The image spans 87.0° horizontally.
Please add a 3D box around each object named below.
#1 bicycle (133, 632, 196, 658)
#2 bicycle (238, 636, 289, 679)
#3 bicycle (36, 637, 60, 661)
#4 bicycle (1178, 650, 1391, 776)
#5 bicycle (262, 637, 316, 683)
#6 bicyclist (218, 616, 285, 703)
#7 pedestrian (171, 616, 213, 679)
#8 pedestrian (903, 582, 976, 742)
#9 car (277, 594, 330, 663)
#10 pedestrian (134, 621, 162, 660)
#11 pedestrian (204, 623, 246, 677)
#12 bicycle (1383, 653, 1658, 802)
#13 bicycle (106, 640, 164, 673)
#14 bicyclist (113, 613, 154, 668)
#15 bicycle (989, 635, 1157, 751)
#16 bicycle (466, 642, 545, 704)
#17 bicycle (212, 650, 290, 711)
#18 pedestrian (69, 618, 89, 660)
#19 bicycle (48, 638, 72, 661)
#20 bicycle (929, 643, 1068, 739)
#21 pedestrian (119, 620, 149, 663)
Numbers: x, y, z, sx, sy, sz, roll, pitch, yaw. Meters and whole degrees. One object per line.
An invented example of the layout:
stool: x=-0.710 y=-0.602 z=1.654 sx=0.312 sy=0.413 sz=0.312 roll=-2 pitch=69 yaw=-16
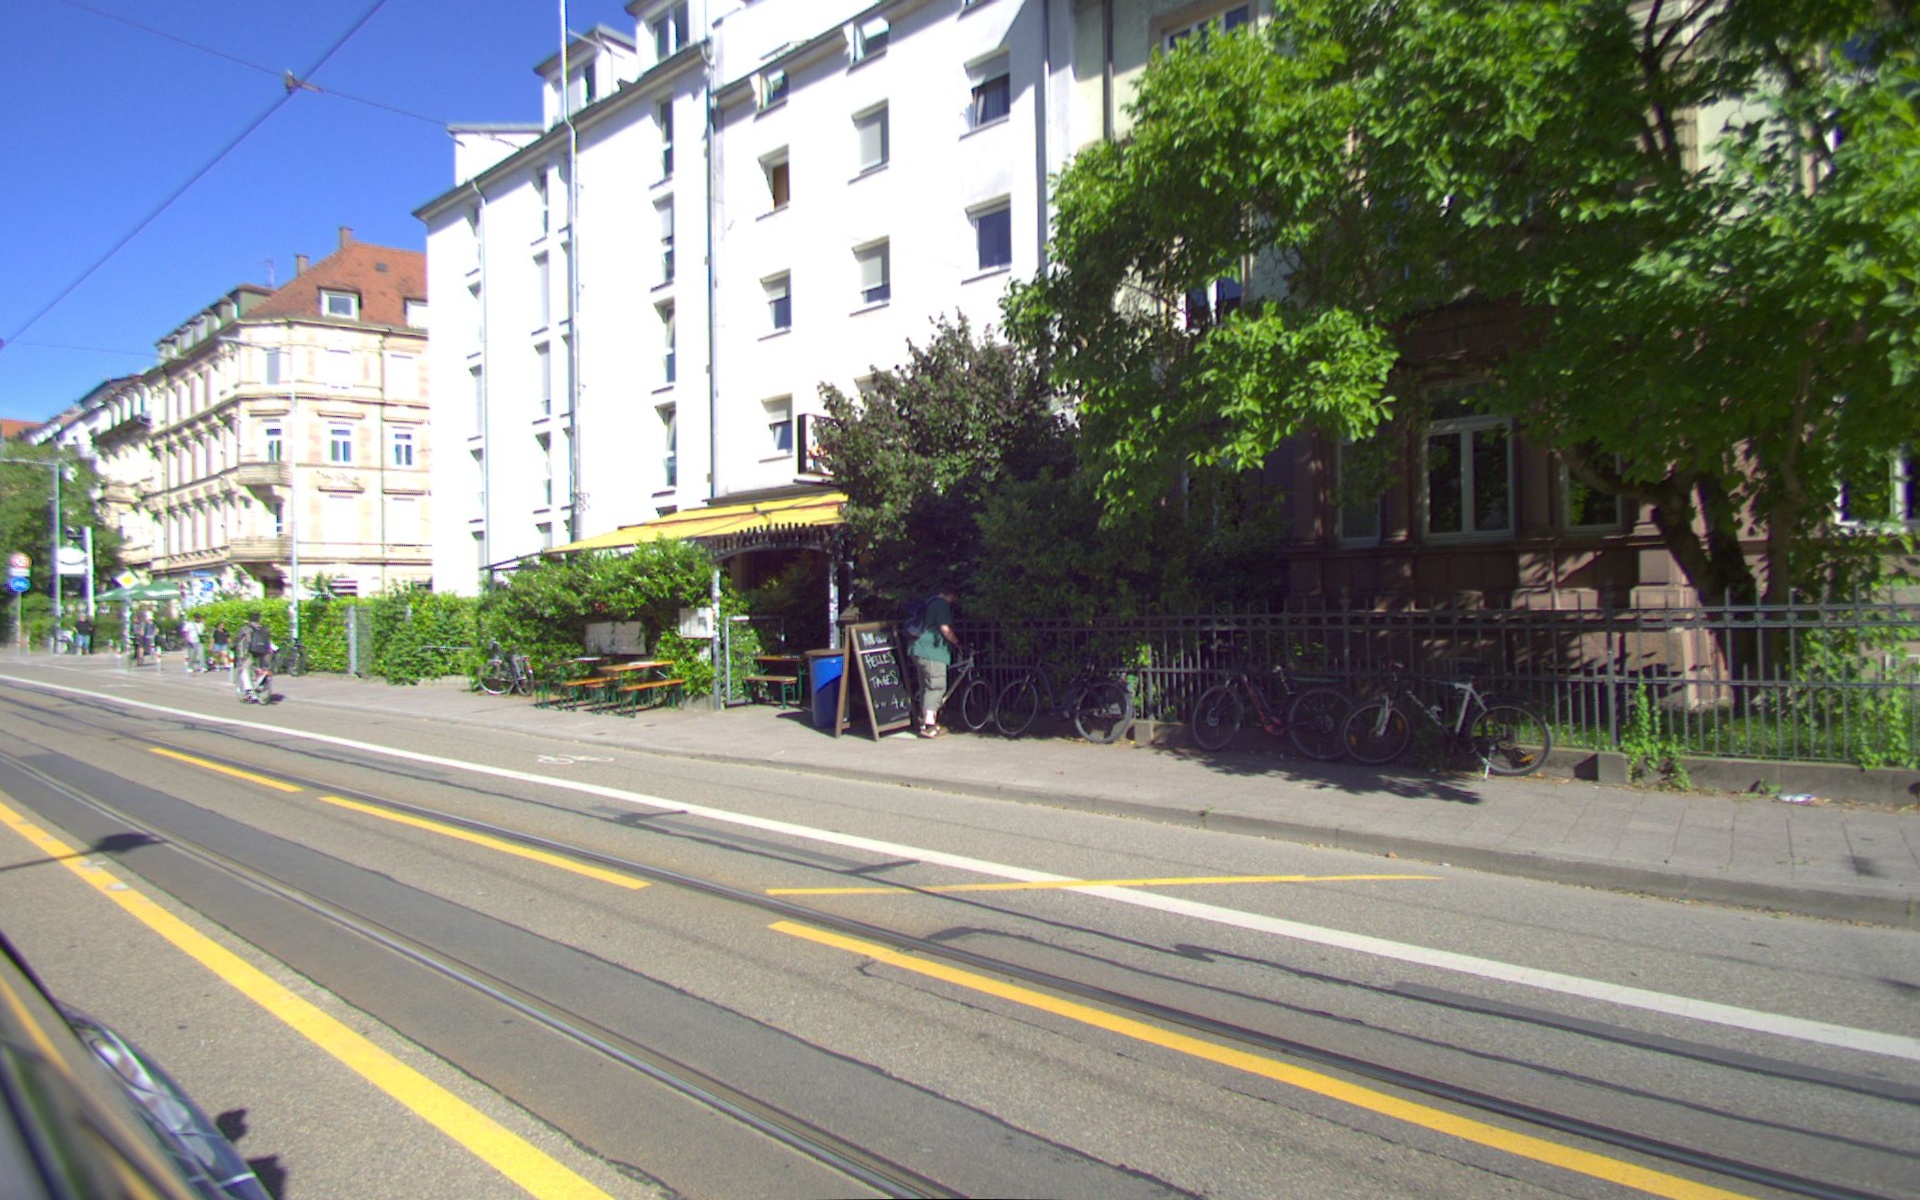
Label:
bicycle: x=-36.082 y=2.034 z=45.908 sx=2.212 sy=1.052 sz=0.877 roll=0 pitch=0 yaw=-41
bicycle: x=-19.402 y=1.586 z=28.170 sx=1.839 sy=1.097 sz=0.655 roll=-1 pitch=2 yaw=40
bicycle: x=-42.355 y=2.257 z=47.008 sx=2.221 sy=1.046 sz=0.508 roll=-2 pitch=-1 yaw=40
bicycle: x=3.107 y=1.042 z=9.856 sx=0.582 sy=1.053 sz=1.907 roll=-2 pitch=0 yaw=-43
bicycle: x=-17.824 y=1.573 z=26.886 sx=1.839 sy=1.097 sz=0.655 roll=-1 pitch=2 yaw=40
bicyclist: x=-13.685 y=1.139 z=19.541 sx=1.117 sy=1.612 sz=0.737 roll=-2 pitch=-4 yaw=40
pedestrian: x=-22.000 y=1.355 z=28.990 sx=0.807 sy=1.727 sz=0.747 roll=-2 pitch=0 yaw=40
pedestrian: x=-0.254 y=0.718 z=12.088 sx=0.567 sy=1.845 sz=0.691 roll=0 pitch=-1 yaw=-32
car: x=-28.883 y=1.174 z=44.486 sx=1.861 sy=2.862 sz=4.796 roll=0 pitch=0 yaw=-34
pedestrian: x=-35.065 y=1.746 z=43.727 sx=0.694 sy=1.667 sz=0.835 roll=0 pitch=0 yaw=-19
pedestrian: x=-21.402 y=1.444 z=29.465 sx=0.956 sy=1.489 sz=0.747 roll=-2 pitch=0 yaw=40
bicycle: x=4.622 y=1.002 z=8.451 sx=1.905 sy=1.053 sz=0.583 roll=-2 pitch=0 yaw=43
bicycle: x=-28.829 y=1.959 z=35.396 sx=0.695 sy=1.063 sz=1.838 roll=0 pitch=0 yaw=-8
bicyclist: x=-28.812 y=1.409 z=35.299 sx=0.695 sy=1.868 sz=0.987 roll=0 pitch=0 yaw=-8
bicycle: x=1.241 y=1.001 z=11.455 sx=0.638 sy=1.152 sz=1.907 roll=-3 pitch=1 yaw=-43
bicycle: x=-8.570 y=1.352 z=19.057 sx=1.742 sy=1.067 sz=0.632 roll=-2 pitch=1 yaw=40
bicycle: x=-13.693 y=1.531 z=19.523 sx=1.897 sy=1.090 sz=0.737 roll=-2 pitch=-4 yaw=41
pedestrian: x=-38.142 y=1.677 z=43.804 sx=0.538 sy=1.795 sz=0.552 roll=-1 pitch=-1 yaw=36
bicycle: x=-39.556 y=2.157 z=44.476 sx=1.776 sy=0.988 sz=0.522 roll=-2 pitch=-1 yaw=40
bicycle: x=0.432 y=1.082 z=12.582 sx=0.628 sy=1.053 sz=2.027 roll=0 pitch=-1 yaw=-34
pedestrian: x=-34.626 y=1.731 z=42.428 sx=0.682 sy=1.781 sz=0.869 roll=0 pitch=-1 yaw=-17
